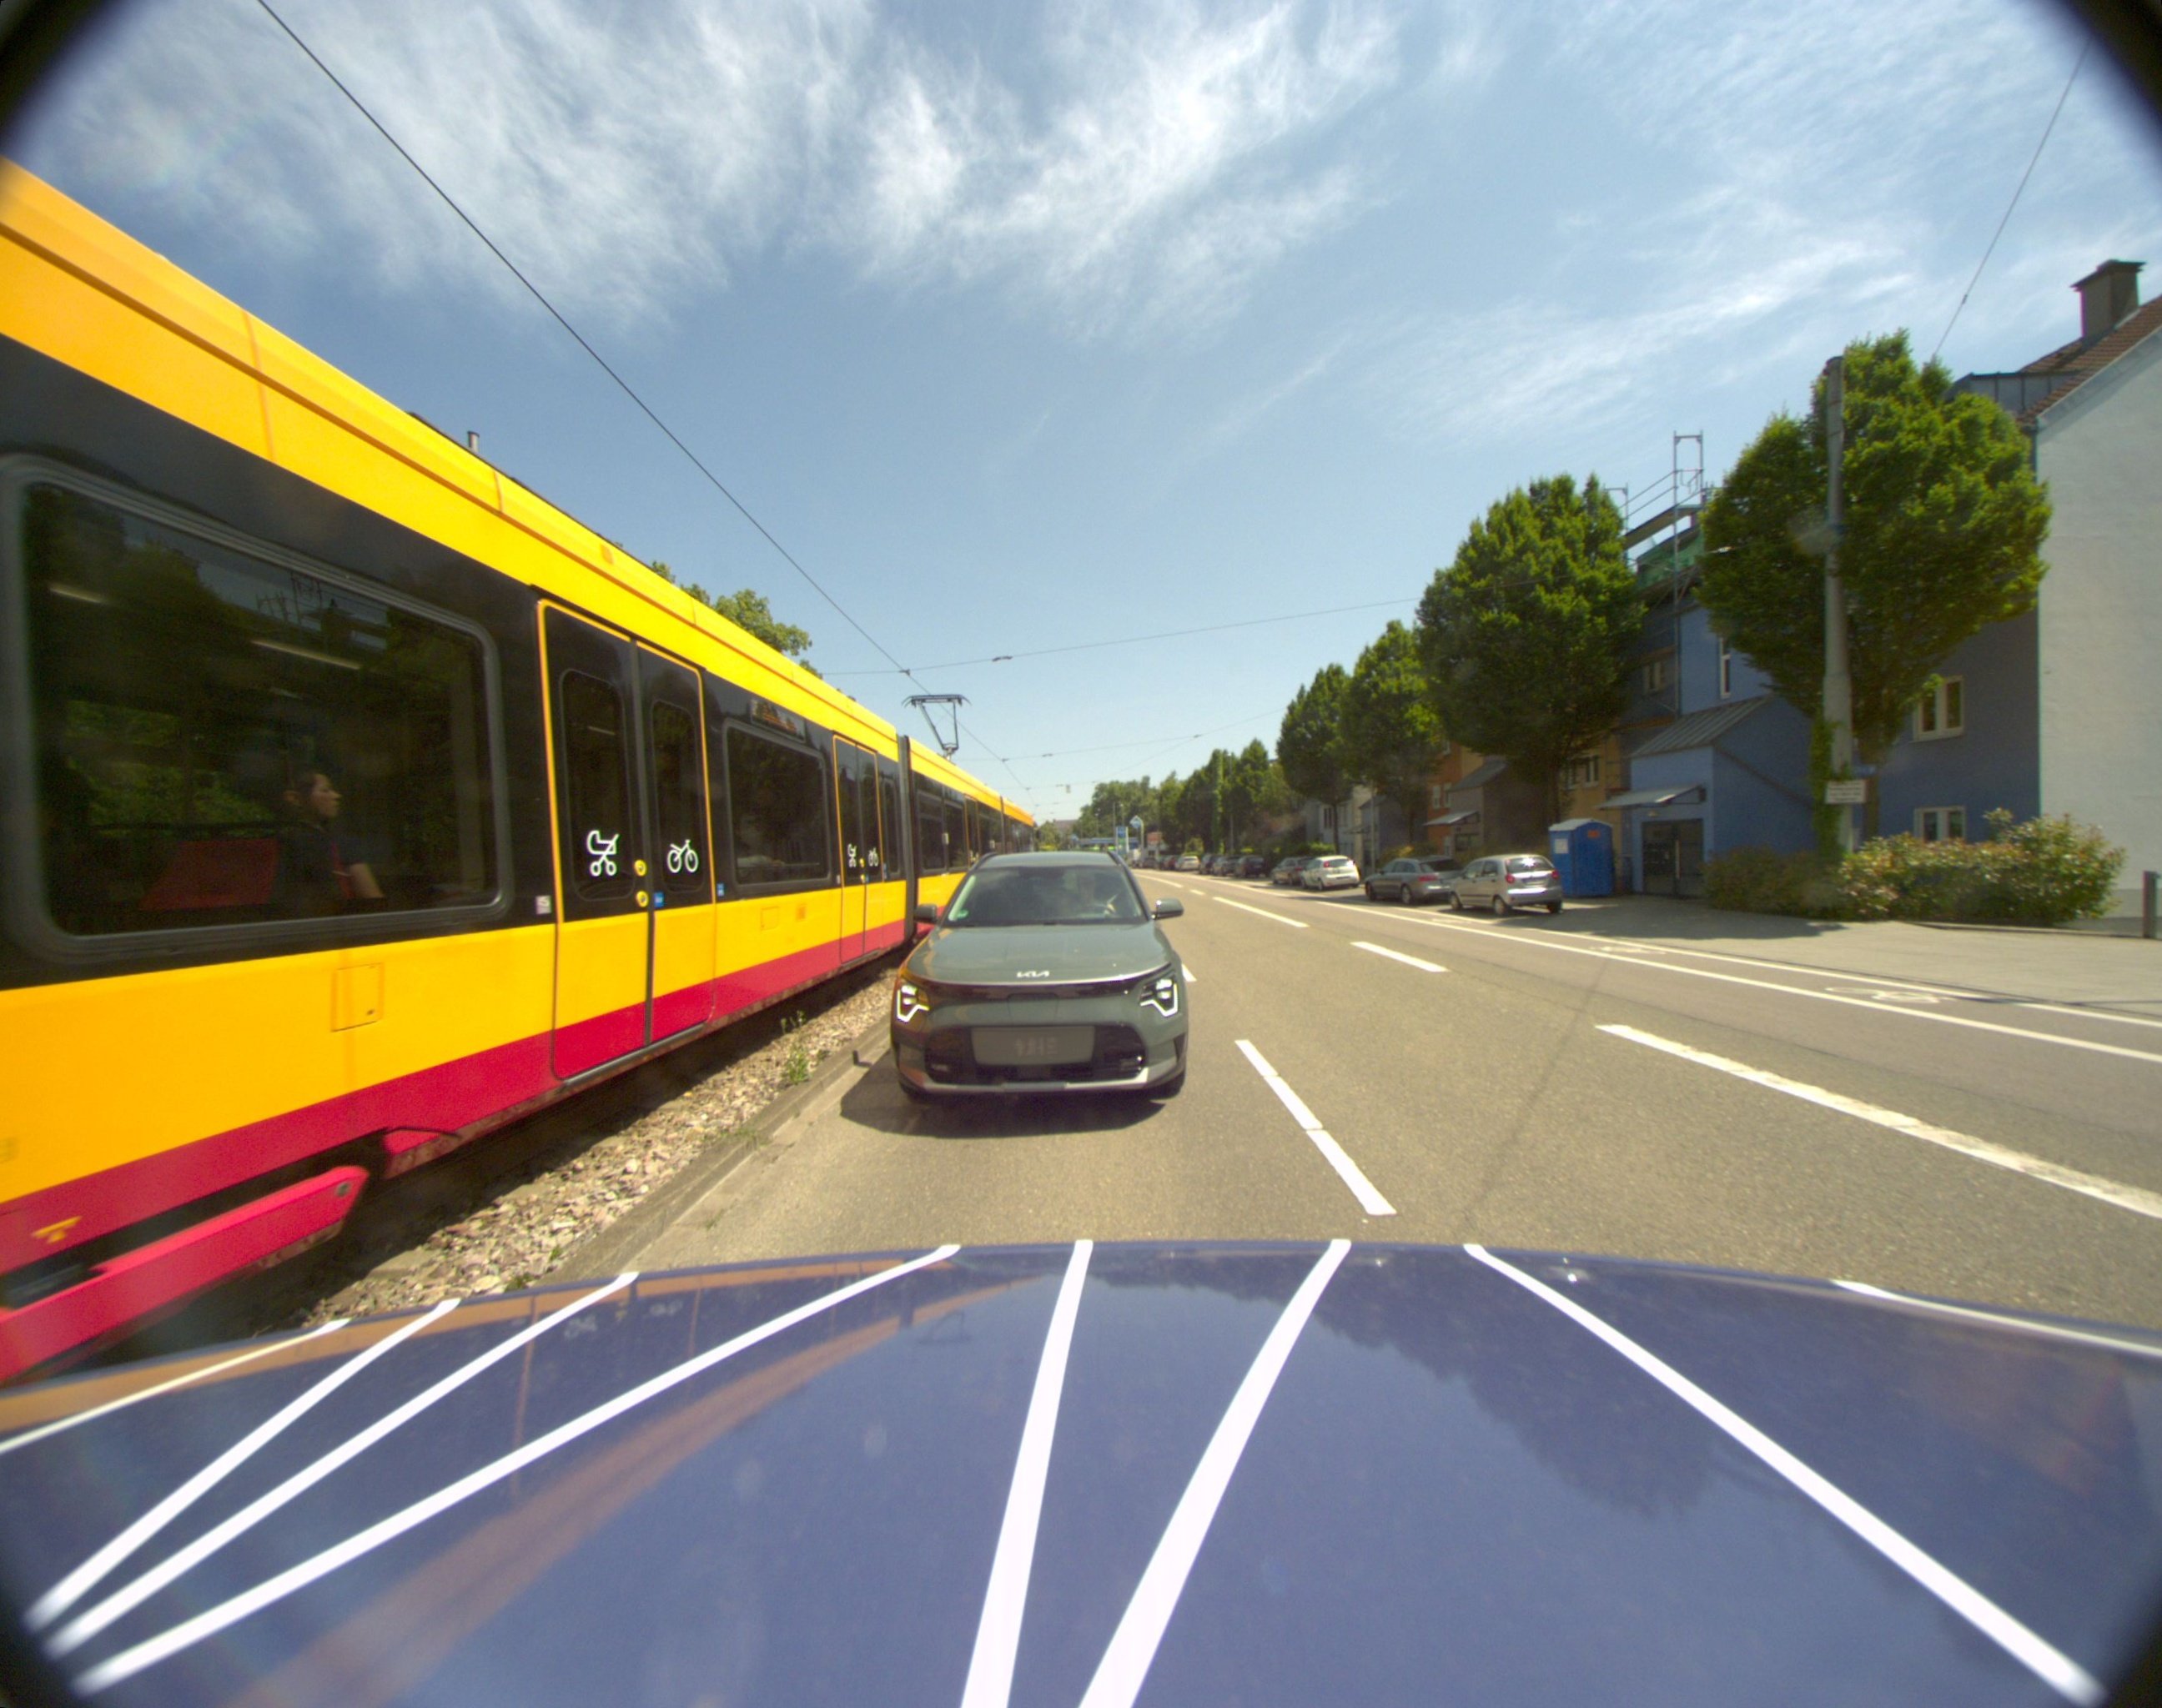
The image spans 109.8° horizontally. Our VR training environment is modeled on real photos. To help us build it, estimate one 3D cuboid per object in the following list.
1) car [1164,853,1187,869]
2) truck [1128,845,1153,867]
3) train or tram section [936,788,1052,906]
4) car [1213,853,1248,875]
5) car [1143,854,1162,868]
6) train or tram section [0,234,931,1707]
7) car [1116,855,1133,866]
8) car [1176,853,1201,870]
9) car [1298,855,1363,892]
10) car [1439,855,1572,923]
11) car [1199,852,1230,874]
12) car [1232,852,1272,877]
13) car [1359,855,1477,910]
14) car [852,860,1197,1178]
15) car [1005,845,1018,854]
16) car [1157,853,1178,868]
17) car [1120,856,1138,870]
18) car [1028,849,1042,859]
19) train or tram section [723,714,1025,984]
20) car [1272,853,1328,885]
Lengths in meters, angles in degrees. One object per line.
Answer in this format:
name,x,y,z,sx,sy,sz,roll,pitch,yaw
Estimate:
car,9.875,0.698,79.875,1.865,1.487,3.470,-5,0,0
truck,7.775,0.274,99.788,2.135,2.565,4.861,-5,0,-8
train or tram section,-3.179,-0.315,32.342,2.783,3.786,14.261,-2,1,1
car,11.113,0.723,56.561,1.656,1.487,4.082,-5,0,0
car,8.854,0.844,93.798,1.865,1.487,3.470,-5,0,0
train or tram section,-3.755,0.514,3.905,2.813,3.785,14.260,-2,1,1
car,6.360,0.984,111.524,1.866,1.487,3.468,-5,0,-8
car,10.417,0.731,74.083,1.723,1.487,4.082,-5,0,0
car,11.393,0.844,34.888,1.656,1.487,3.649,-5,0,0
car,10.957,0.839,19.853,1.505,1.487,3.282,-5,0,0
car,10.977,0.730,62.703,1.656,1.578,4.082,-5,0,0
car,11.587,0.680,51.626,1.656,1.487,4.082,-5,0,0
car,10.917,0.858,25.027,1.680,1.487,4.638,-5,0,0
car,-0.267,0.889,6.211,1.759,1.574,4.427,-2,0,1
car,-11.588,-0.802,127.066,1.865,1.487,3.470,-1,0,-1
car,9.632,0.665,84.688,1.865,1.487,3.470,-5,0,0
car,5.724,1.020,91.182,1.865,1.487,3.470,-5,0,0
car,-6.744,-0.023,111.986,1.865,1.487,3.470,-1,0,-1
train or tram section,-3.512,-0.146,18.077,2.783,3.789,14.261,-2,1,1
car,11.506,0.761,40.152,1.656,1.487,4.082,-5,0,0
